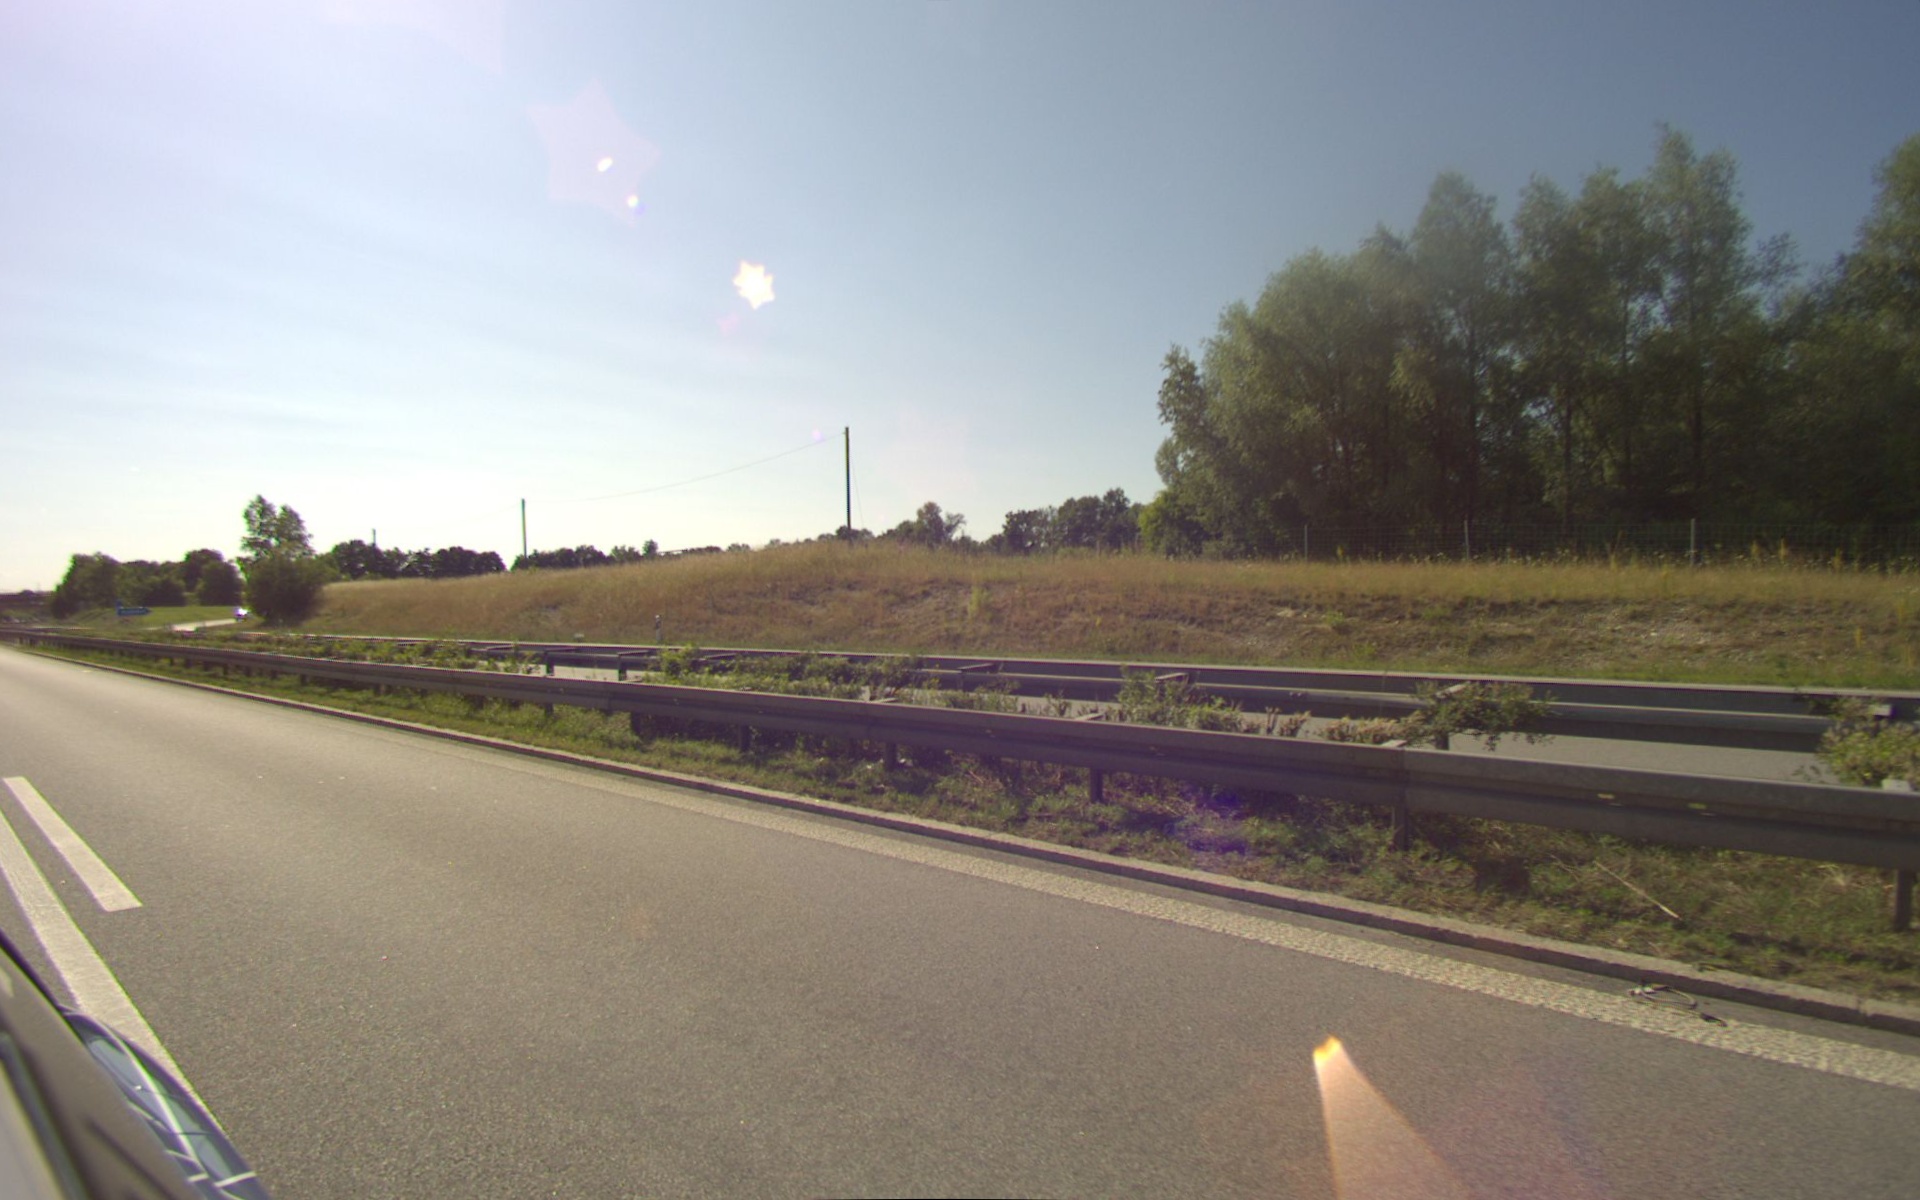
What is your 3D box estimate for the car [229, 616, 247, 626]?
[{"bbox_3d":[-98.112,2.854,137.572,1.644,1.386,4.012,1,-1,-30],"label":"car"}]
